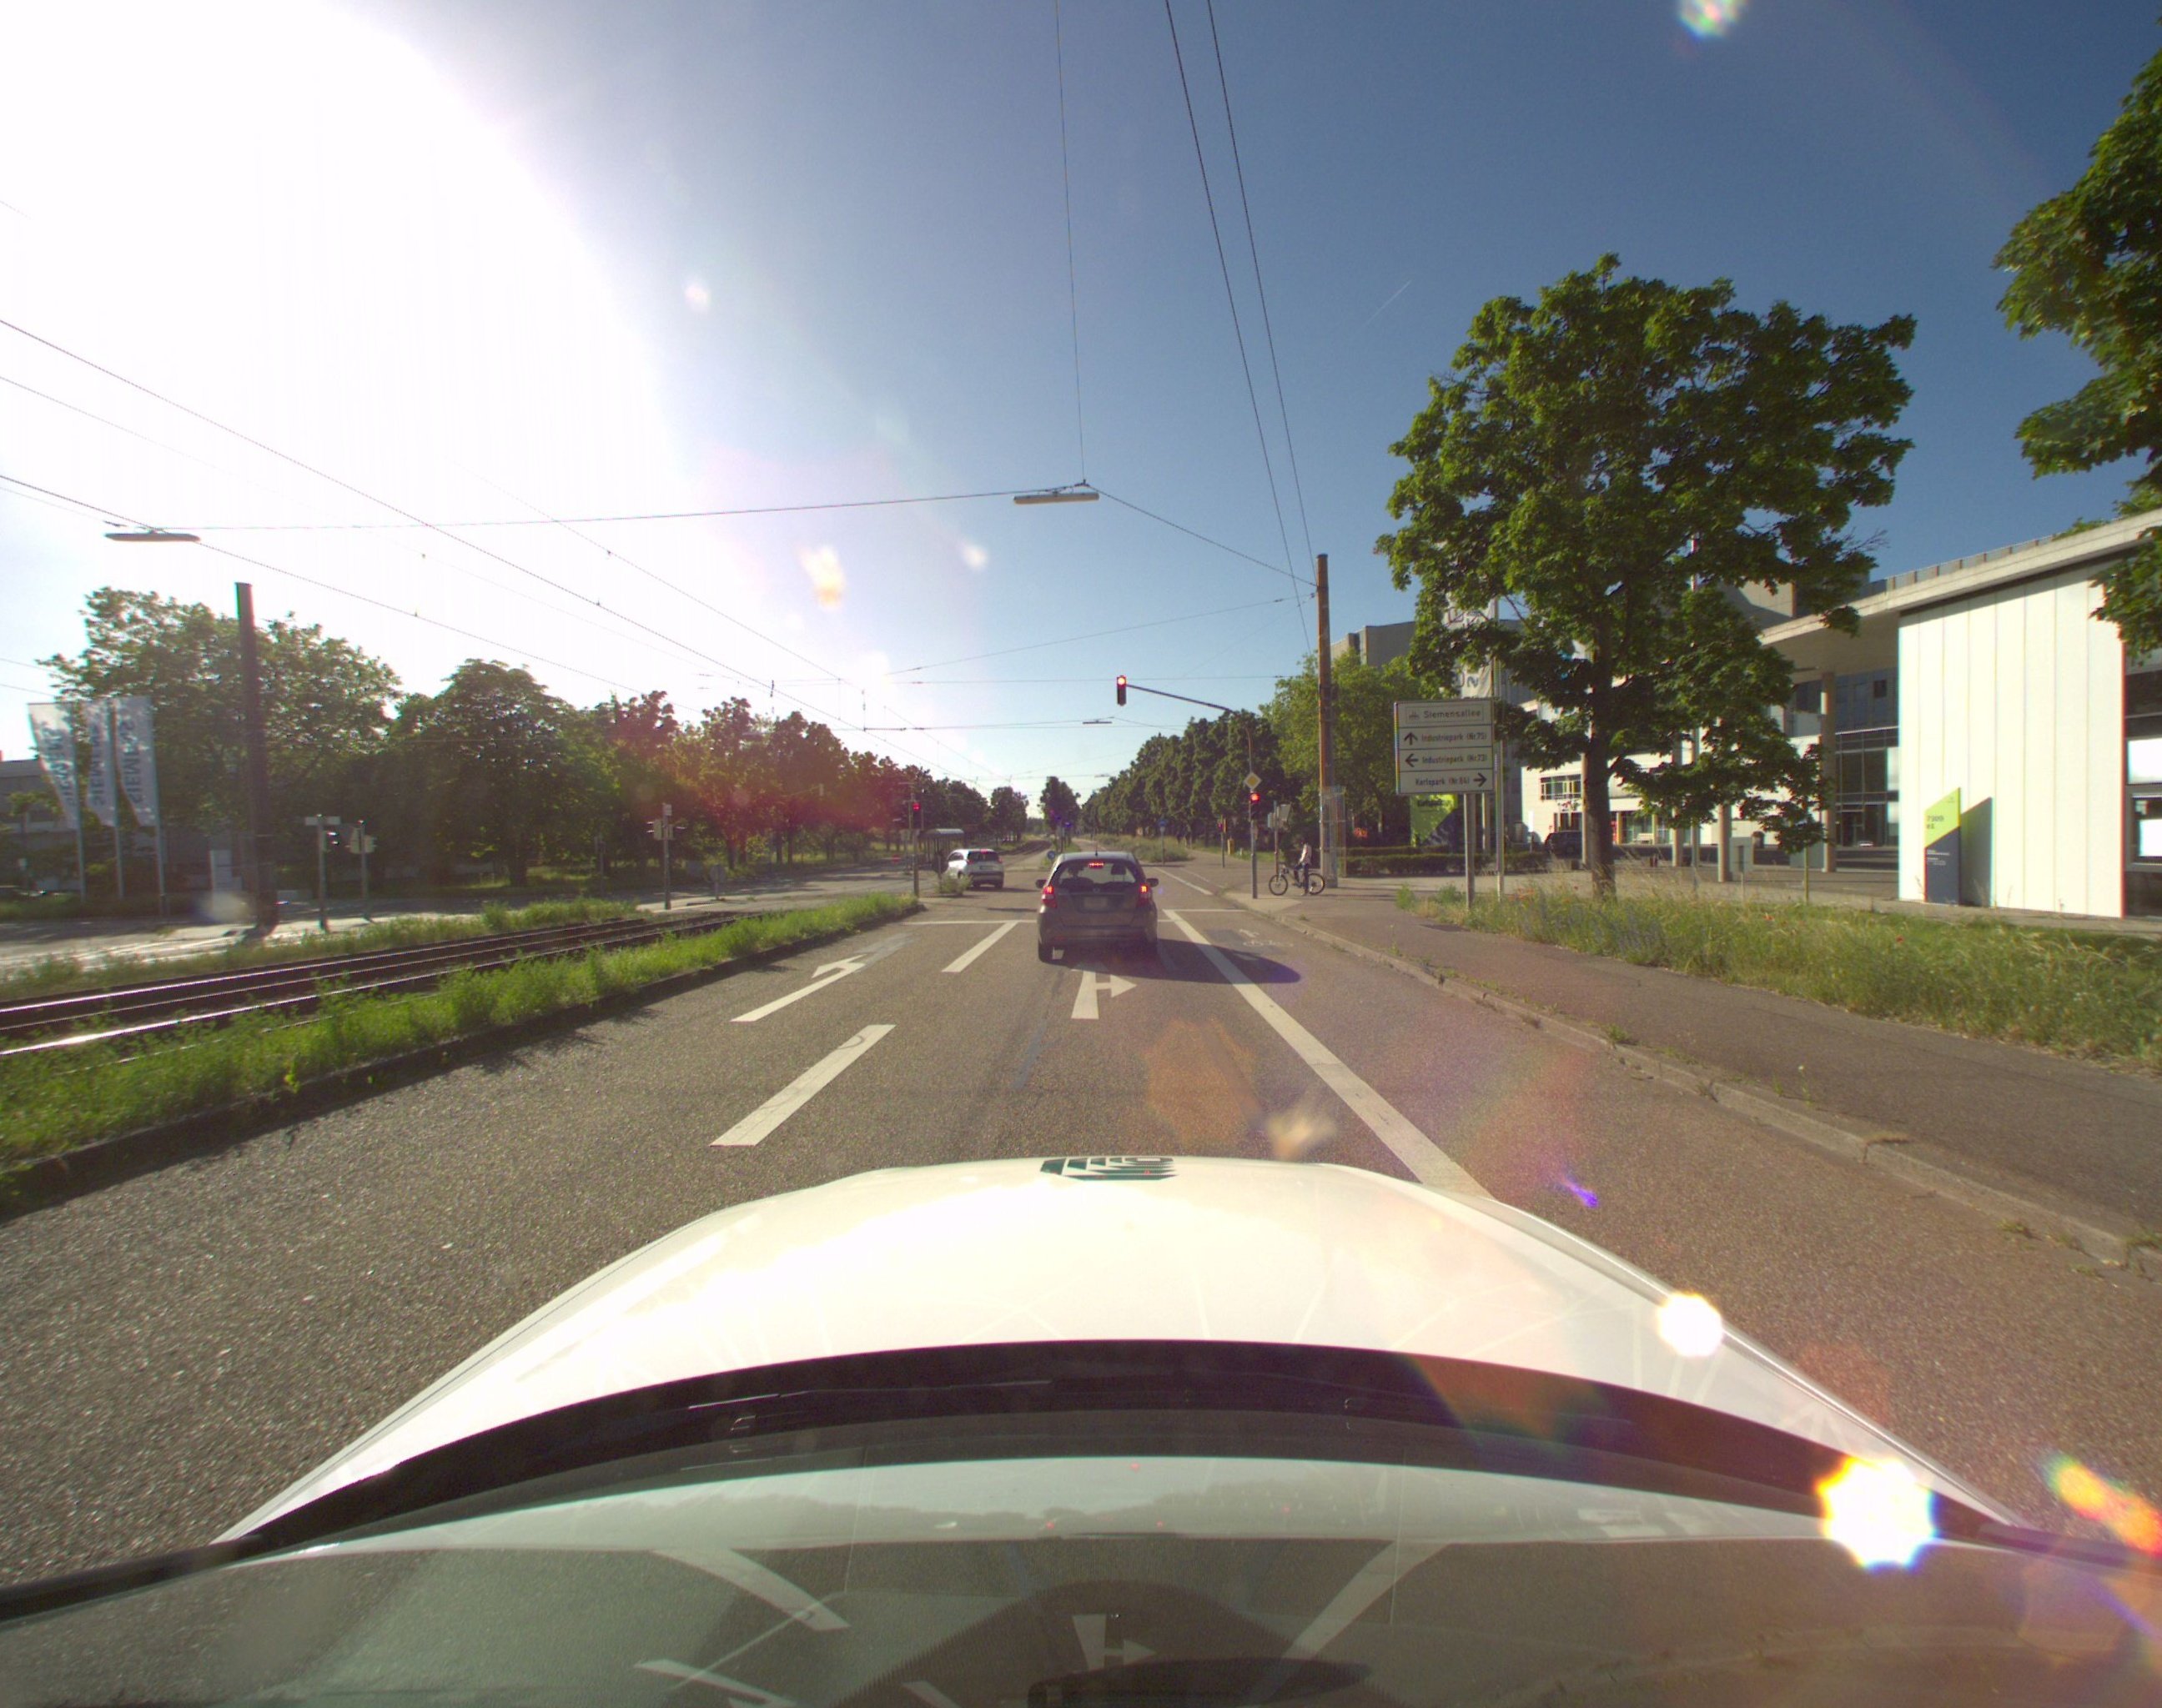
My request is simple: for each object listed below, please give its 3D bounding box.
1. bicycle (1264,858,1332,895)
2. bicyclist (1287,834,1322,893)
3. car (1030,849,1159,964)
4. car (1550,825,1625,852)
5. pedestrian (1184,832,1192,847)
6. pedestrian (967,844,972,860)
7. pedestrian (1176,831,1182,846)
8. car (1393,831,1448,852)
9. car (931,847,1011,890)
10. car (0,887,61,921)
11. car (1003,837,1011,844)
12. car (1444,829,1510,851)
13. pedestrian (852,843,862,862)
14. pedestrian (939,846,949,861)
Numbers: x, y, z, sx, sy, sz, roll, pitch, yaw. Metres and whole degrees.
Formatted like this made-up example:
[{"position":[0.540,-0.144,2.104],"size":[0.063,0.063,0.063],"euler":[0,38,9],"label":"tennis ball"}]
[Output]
[{"position":[6.609,0.671,24.873],"size":[1.907,0.998,0.767],"euler":[-4,-1,12],"label":"bicycle"},{"position":[6.798,0.292,24.829],"size":[0.904,1.745,0.767],"euler":[-3,0,12],"label":"bicyclist"},{"position":[0.275,0.683,12.809],"size":[1.700,1.508,4.003],"euler":[-1,0,3],"label":"car"},{"position":[34.059,-1.033,54.822],"size":[3.984,1.720,1.895],"euler":[-1,1,-8],"label":"car"},{"position":[11.345,-1.566,86.220],"size":[0.676,1.610,0.720],"euler":[0,0,-1],"label":"pedestrian"},{"position":[-11.796,-0.247,86.254],"size":[0.502,1.675,0.386],"euler":[-1,0,-10],"label":"pedestrian"},{"position":[10.349,-1.606,86.207],"size":[0.565,1.596,0.665],"euler":[0,0,-2],"label":"pedestrian"},{"position":[30.049,-1.099,72.117],"size":[3.988,1.757,1.993],"euler":[-1,0,-11],"label":"car"},{"position":[-4.552,0.567,33.242],"size":[1.862,1.606,4.215],"euler":[-1,0,-29],"label":"car"},{"position":[-51.046,2.394,38.105],"size":[1.685,1.488,3.862],"euler":[-1,1,1],"label":"car"},{"position":[-20.965,-3.791,230.570],"size":[1.761,1.738,3.999],"euler":[-1,0,0],"label":"car"},{"position":[31.603,-1.117,65.095],"size":[4.538,1.629,1.869],"euler":[-2,0,-11],"label":"car"},{"position":[-23.754,-0.159,86.406],"size":[0.837,2.013,0.863],"euler":[-1,0,0],"label":"pedestrian"},{"position":[-12.081,-0.068,71.638],"size":[0.718,1.246,0.710],"euler":[-2,0,0],"label":"pedestrian"}]
